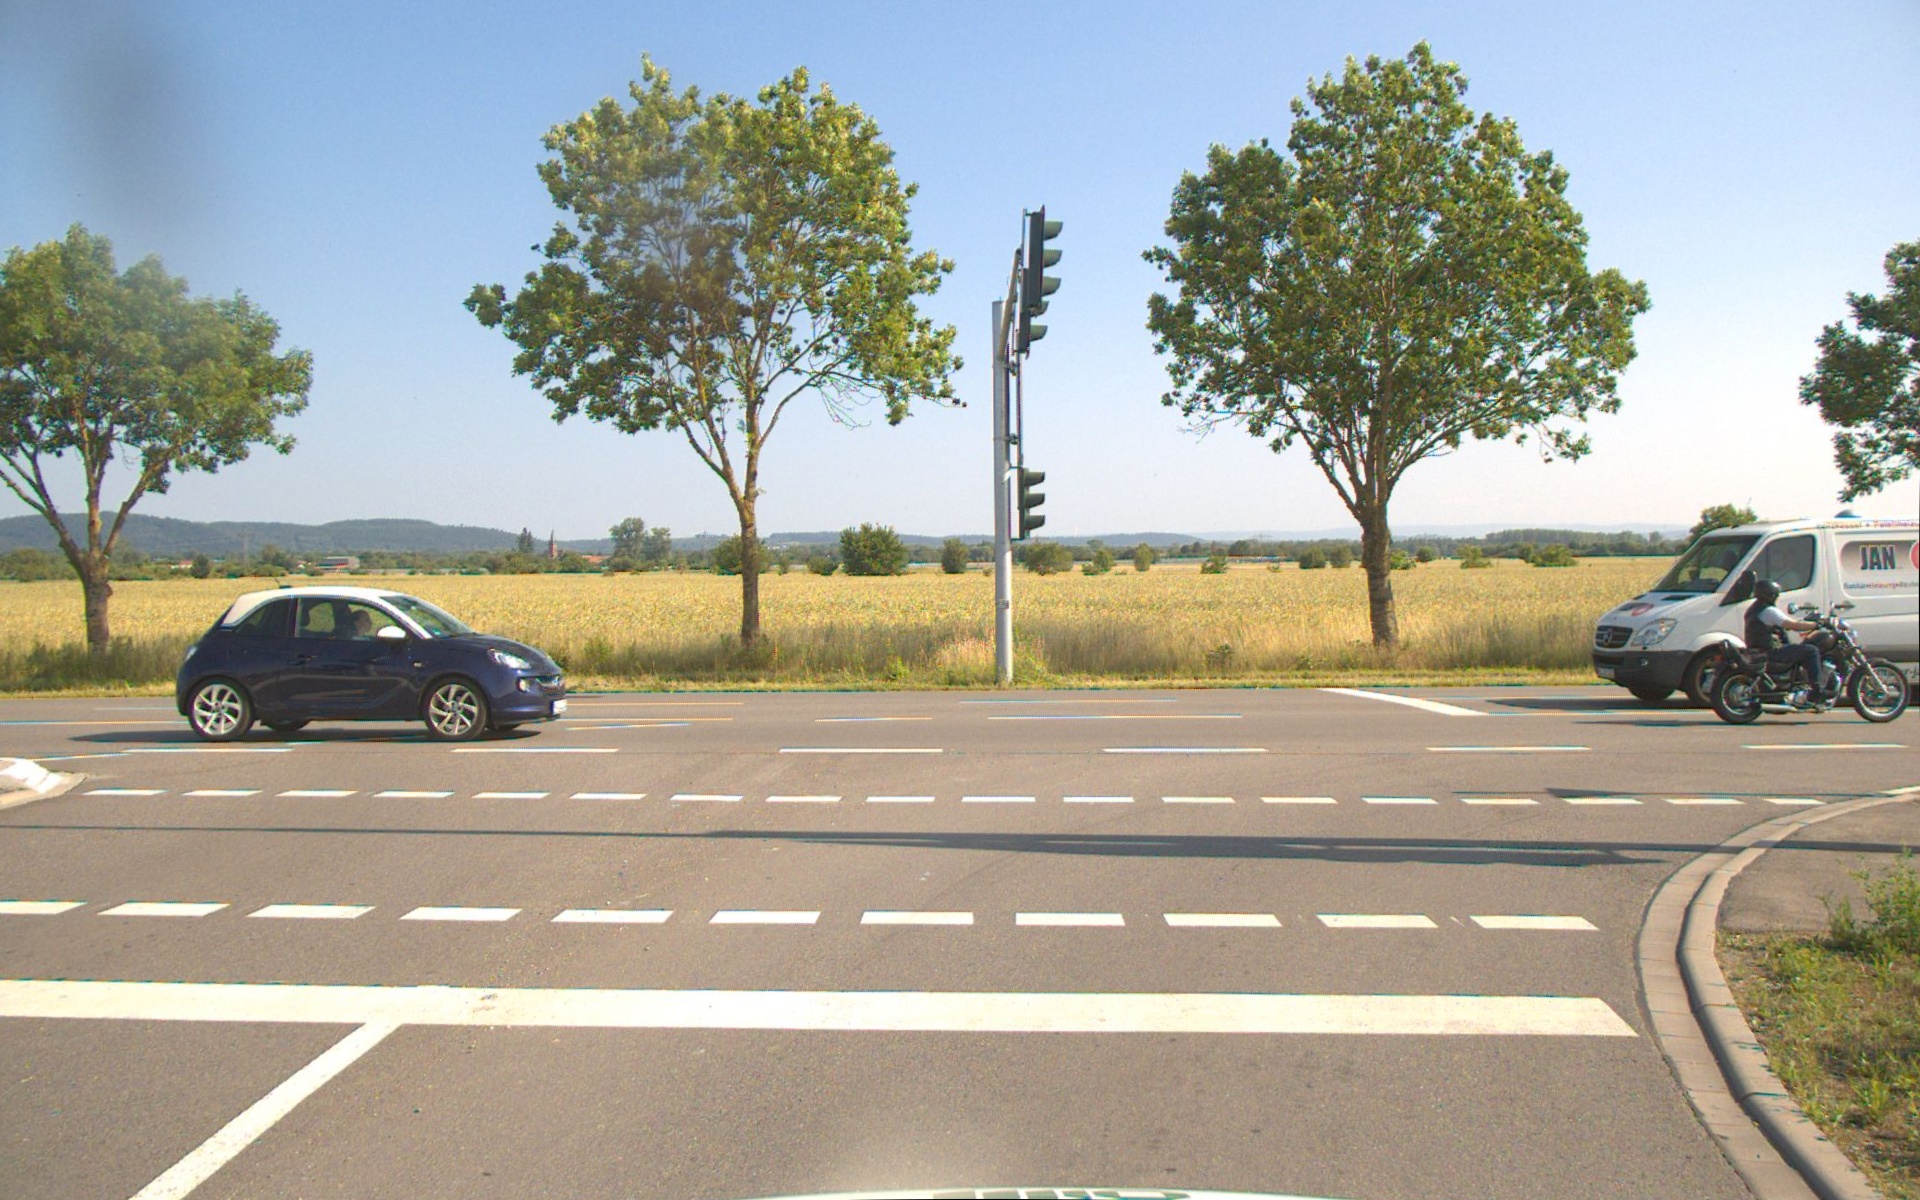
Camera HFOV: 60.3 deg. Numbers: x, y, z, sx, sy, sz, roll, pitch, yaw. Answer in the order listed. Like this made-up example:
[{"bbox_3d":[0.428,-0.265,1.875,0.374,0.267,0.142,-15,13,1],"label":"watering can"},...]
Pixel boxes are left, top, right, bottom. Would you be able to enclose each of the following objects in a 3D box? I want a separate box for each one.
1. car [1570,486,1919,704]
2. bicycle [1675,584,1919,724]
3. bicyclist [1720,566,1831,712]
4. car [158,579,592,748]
[{"bbox_3d":[11.000,-0.087,20.879,5.837,2.536,1.999,-1,0,-3],"label":"car"},{"bbox_3d":[9.046,0.561,17.765,2.443,1.421,0.731,-1,0,-6],"label":"bicycle"},{"bbox_3d":[8.730,0.412,17.729,0.792,1.515,0.757,1,0,-5],"label":"bicyclist"},{"bbox_3d":[-5.706,0.590,16.457,3.651,1.482,1.729,-1,1,0],"label":"car"}]
